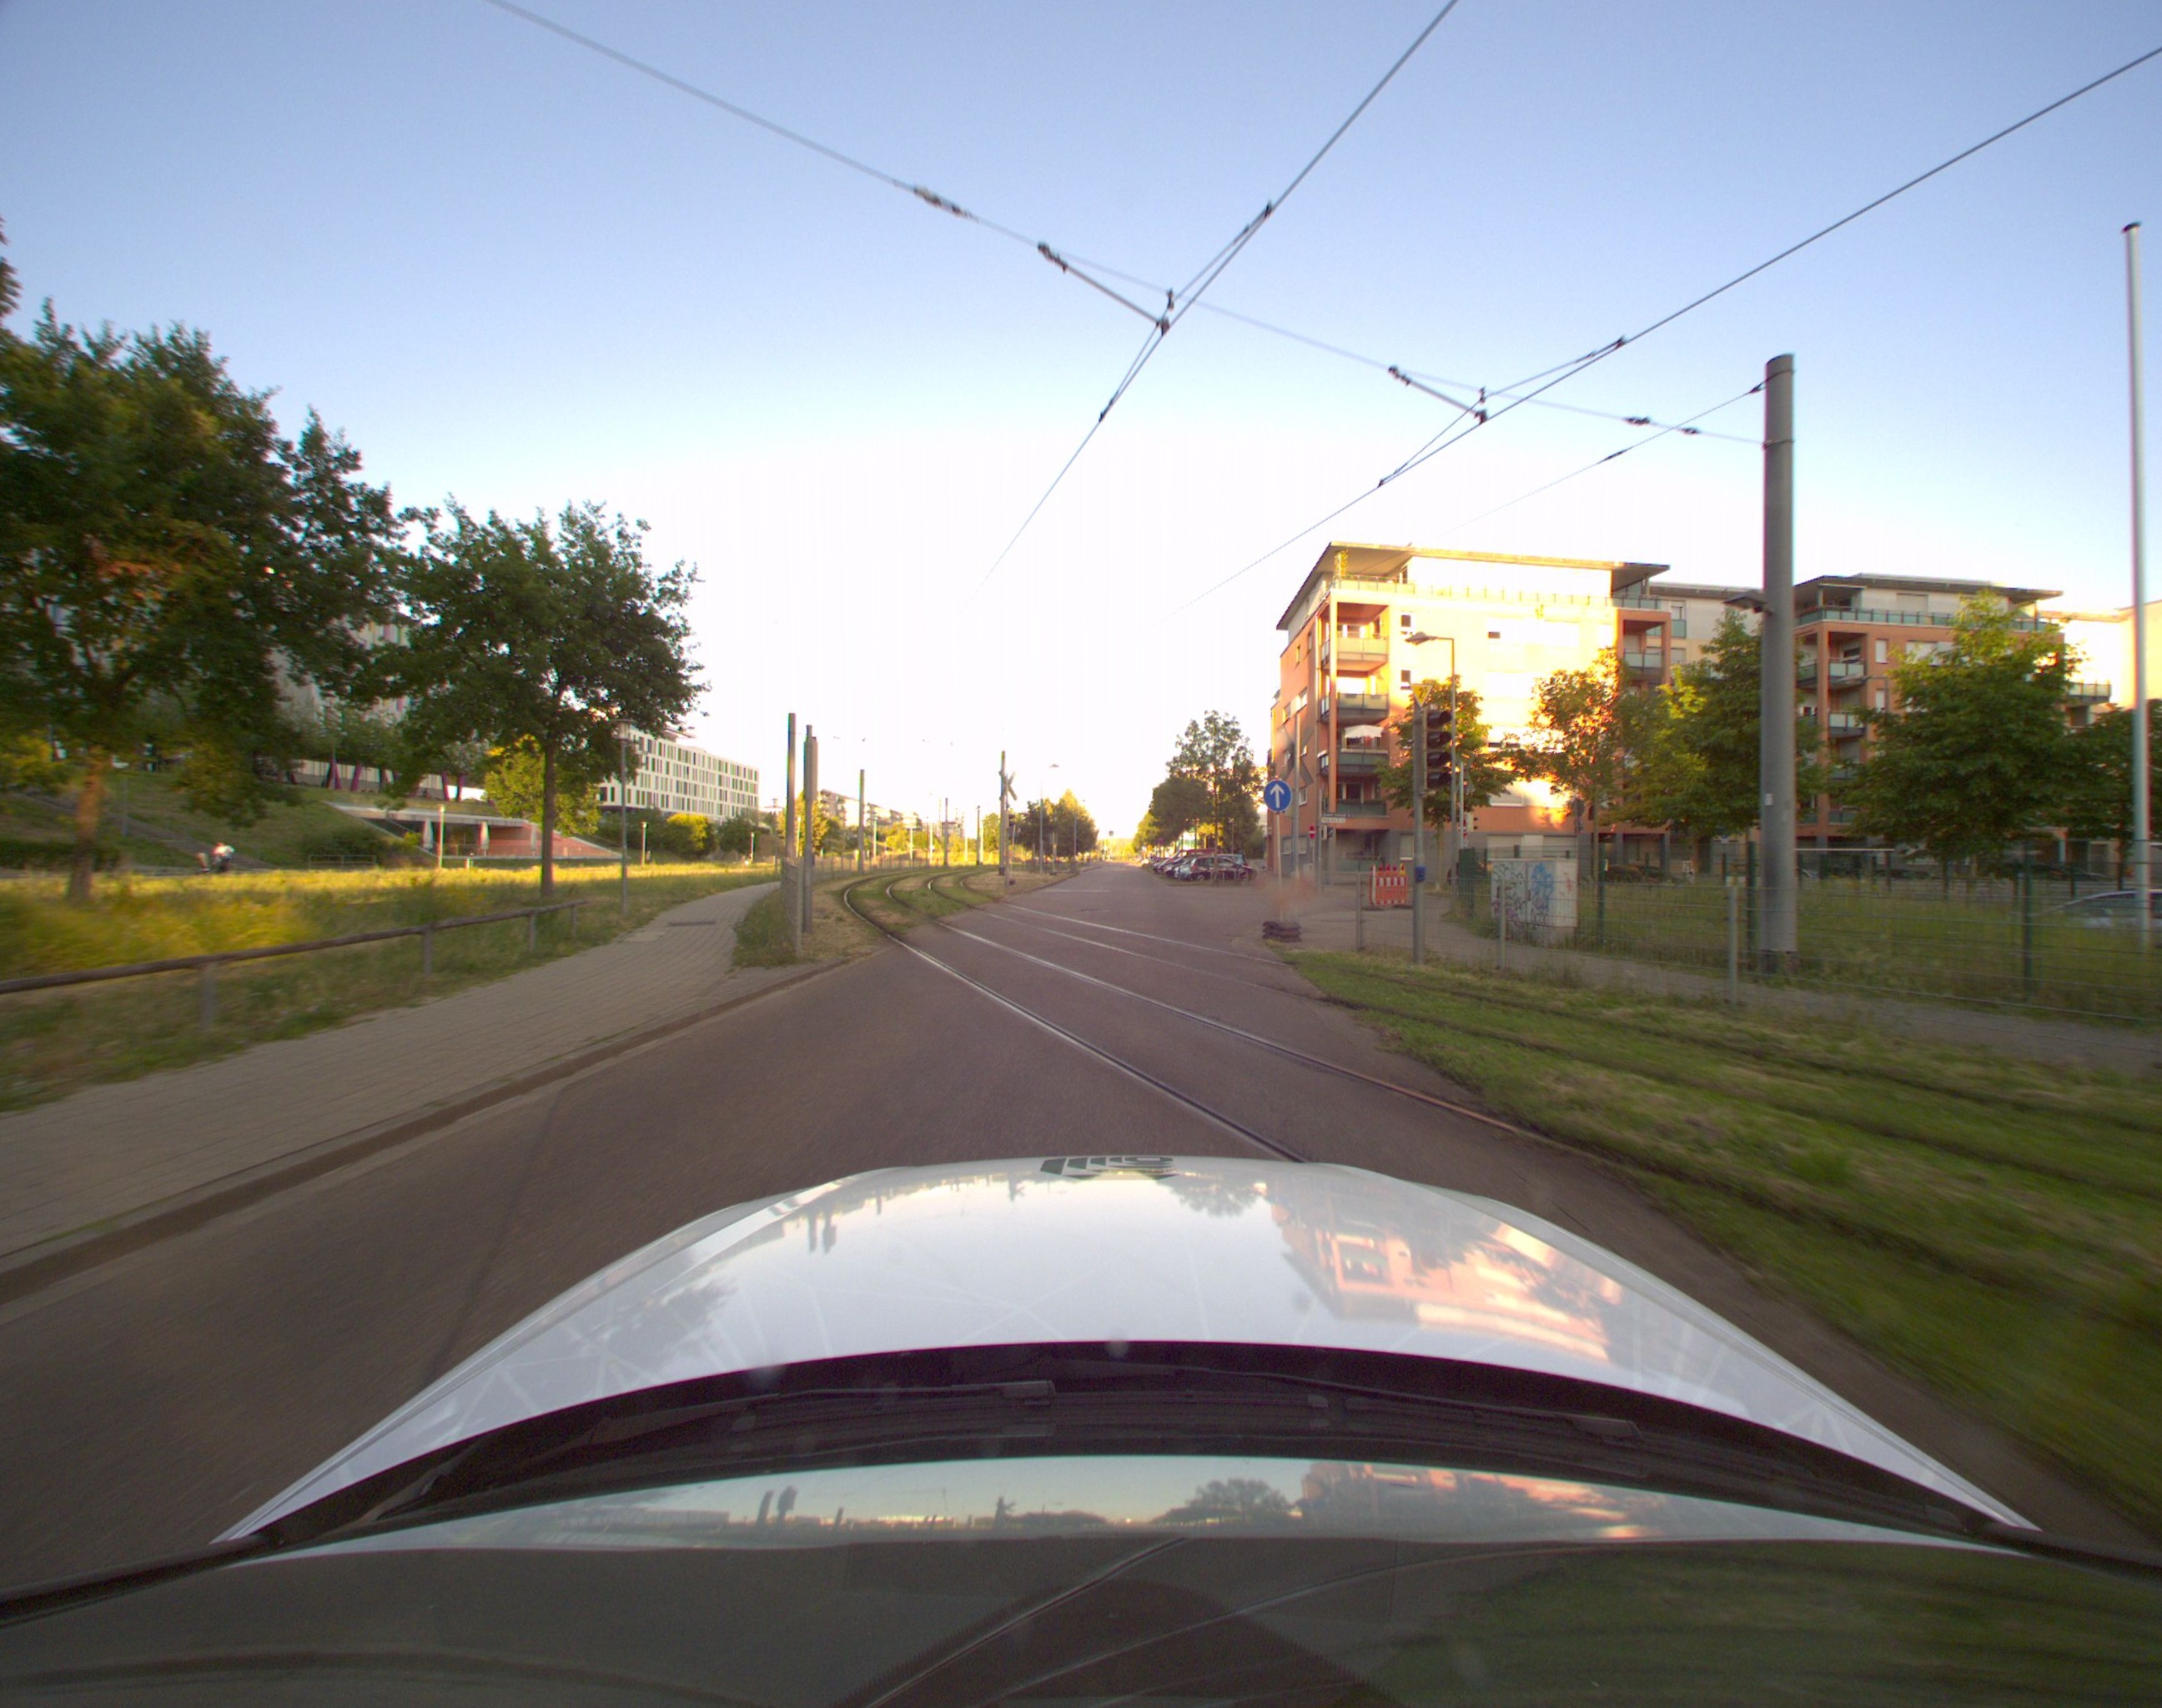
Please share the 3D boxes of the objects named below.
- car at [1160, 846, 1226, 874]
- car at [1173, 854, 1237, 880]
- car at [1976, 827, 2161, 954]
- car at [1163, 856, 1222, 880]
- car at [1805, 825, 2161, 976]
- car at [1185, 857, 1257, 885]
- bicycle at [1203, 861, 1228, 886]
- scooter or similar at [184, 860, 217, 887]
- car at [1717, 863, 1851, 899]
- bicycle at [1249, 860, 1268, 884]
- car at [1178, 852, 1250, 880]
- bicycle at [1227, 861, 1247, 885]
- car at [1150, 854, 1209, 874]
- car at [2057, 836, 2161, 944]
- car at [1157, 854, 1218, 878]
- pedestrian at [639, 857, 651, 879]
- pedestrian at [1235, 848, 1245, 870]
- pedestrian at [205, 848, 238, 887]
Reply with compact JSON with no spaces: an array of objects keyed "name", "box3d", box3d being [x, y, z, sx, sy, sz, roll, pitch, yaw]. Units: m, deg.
[{"name":"car","box3d":[8.653,0.464,63.269,4.898,2.117,2.019,0,-1,4]},{"name":"car","box3d":[7.704,0.811,50.818,3.861,1.569,1.621,1,0,3]},{"name":"car","box3d":[18.273,0.602,13.765,1.986,2.014,4.002,1,0,2]},{"name":"car","box3d":[7.290,0.953,53.450,3.758,1.496,1.540,1,-3,2]},{"name":"car","box3d":[14.298,0.642,13.015,1.986,2.014,4.002,1,0,2]},{"name":"car","box3d":[7.836,0.928,45.641,3.739,1.473,1.612,1,0,-2]},{"name":"bicycle","box3d":[6.775,0.951,41.117,0.716,1.152,1.893,-1,1,-8]},{"name":"scooter or similar","box3d":[-41.823,0.932,38.673,0.614,1.244,0.791,2,-1,2]},{"name":"car","box3d":[33.814,1.265,39.403,1.993,1.594,4.800,0,0,-9]},{"name":"bicycle","box3d":[9.063,0.879,41.546,0.527,1.126,1.963,2,1,1]},{"name":"car","box3d":[7.817,0.720,48.054,4.033,1.569,1.674,-1,-1,3]},{"name":"bicycle","box3d":[7.817,0.944,40.925,0.676,1.152,1.928,-1,1,1]},{"name":"car","box3d":[8.032,0.816,66.456,4.650,1.556,1.812,1,-1,2]},{"name":"car","box3d":[21.173,0.689,14.882,1.986,2.014,4.002,1,0,2]},{"name":"car","box3d":[7.533,0.846,57.977,4.198,1.569,1.794,-1,-1,3]},{"name":"pedestrian","box3d":[-41.237,1.348,77.087,0.614,2.082,0.791,2,-1,2]},{"name":"pedestrian","box3d":[12.456,0.409,63.886,0.666,1.743,0.700,0,-1,2]},{"name":"pedestrian","box3d":[-41.797,0.646,39.603,0.614,1.836,0.791,2,-1,2]}]
